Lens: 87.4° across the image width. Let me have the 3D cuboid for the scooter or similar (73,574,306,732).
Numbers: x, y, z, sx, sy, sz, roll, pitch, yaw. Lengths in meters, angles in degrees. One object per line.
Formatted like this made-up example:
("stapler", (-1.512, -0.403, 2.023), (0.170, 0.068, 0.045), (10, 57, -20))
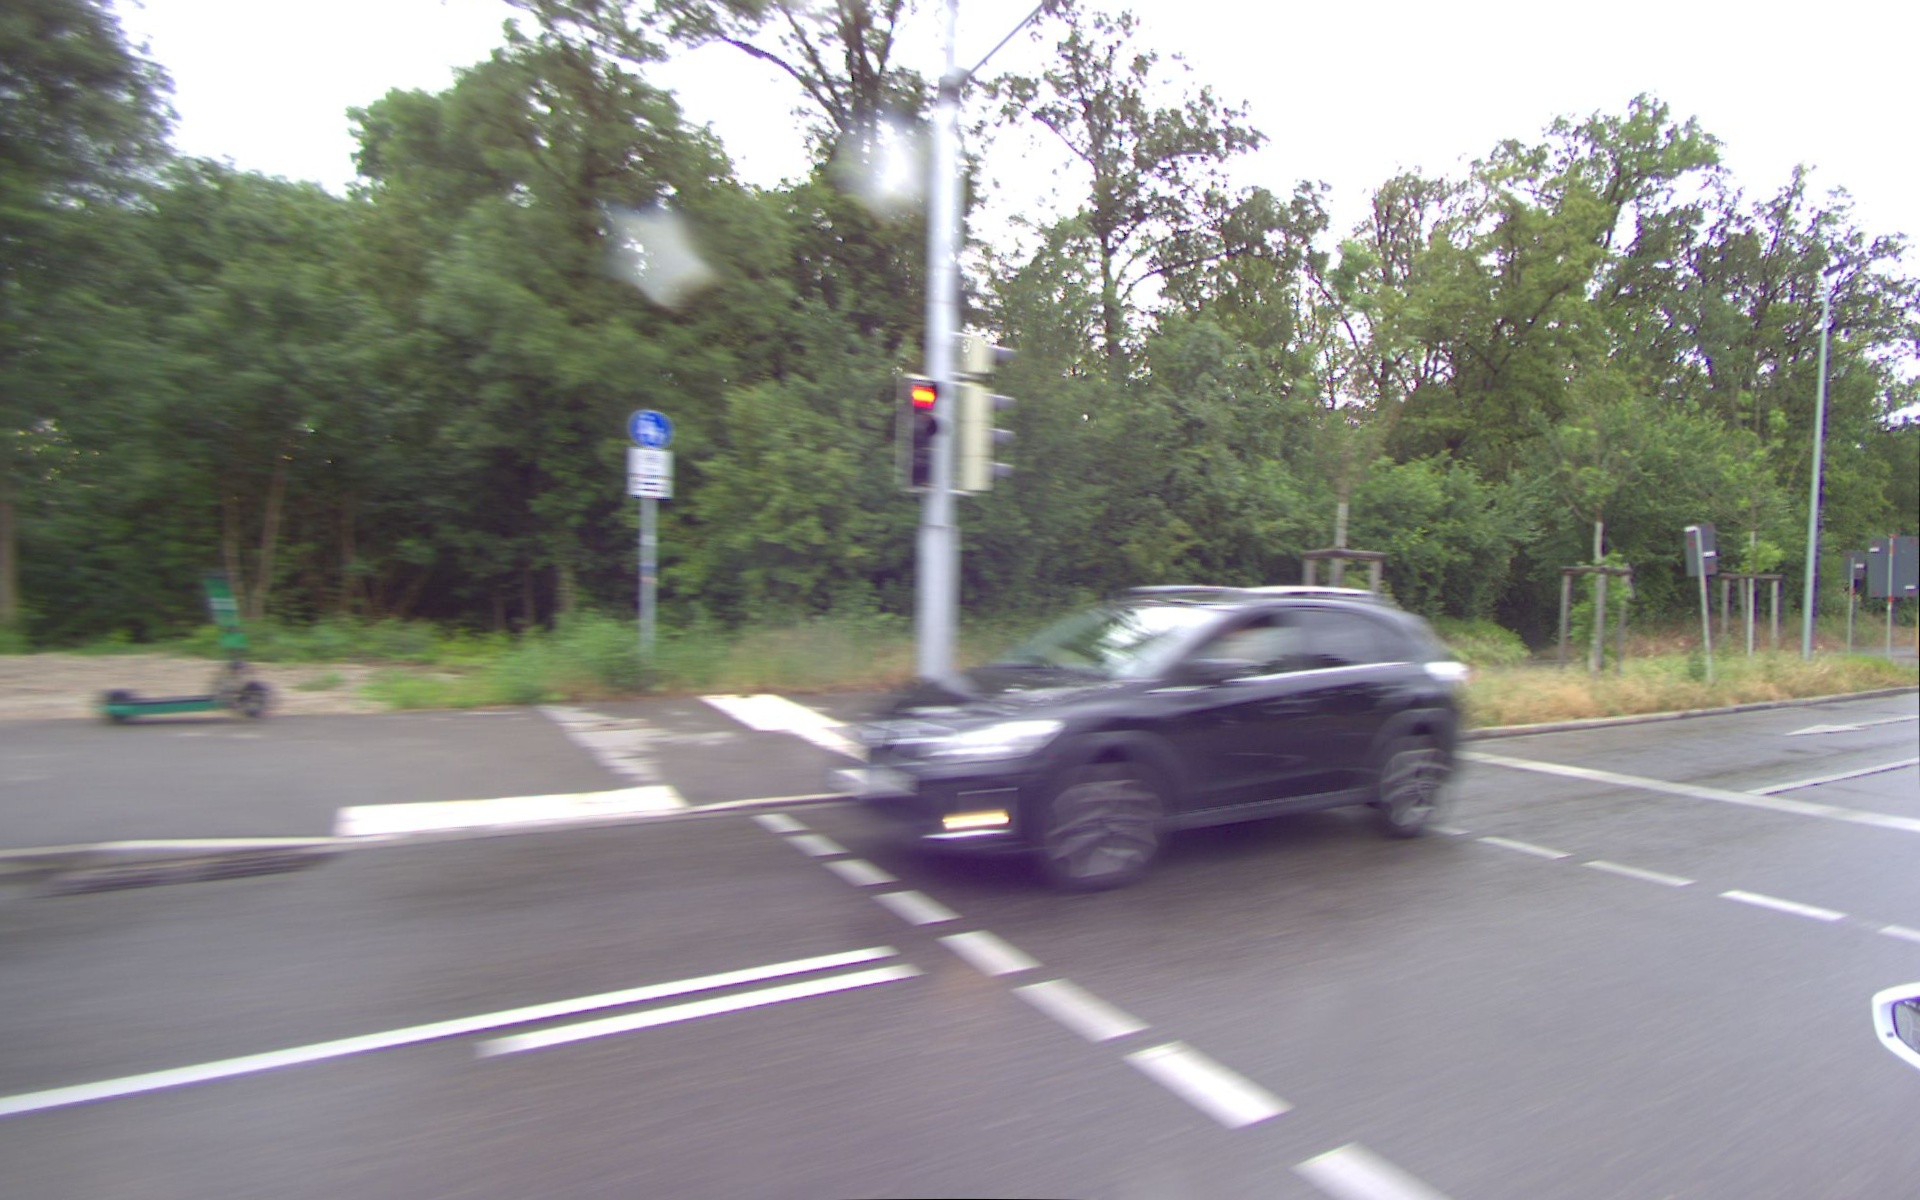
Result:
("scooter or similar", (-6.360, 0.422, 8.374), (1.449, 1.229, 0.516), (1, 2, -25))

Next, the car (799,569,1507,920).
("car", (1.402, 0.680, 6.533), (4.510, 1.602, 1.779), (1, 0, -32))
